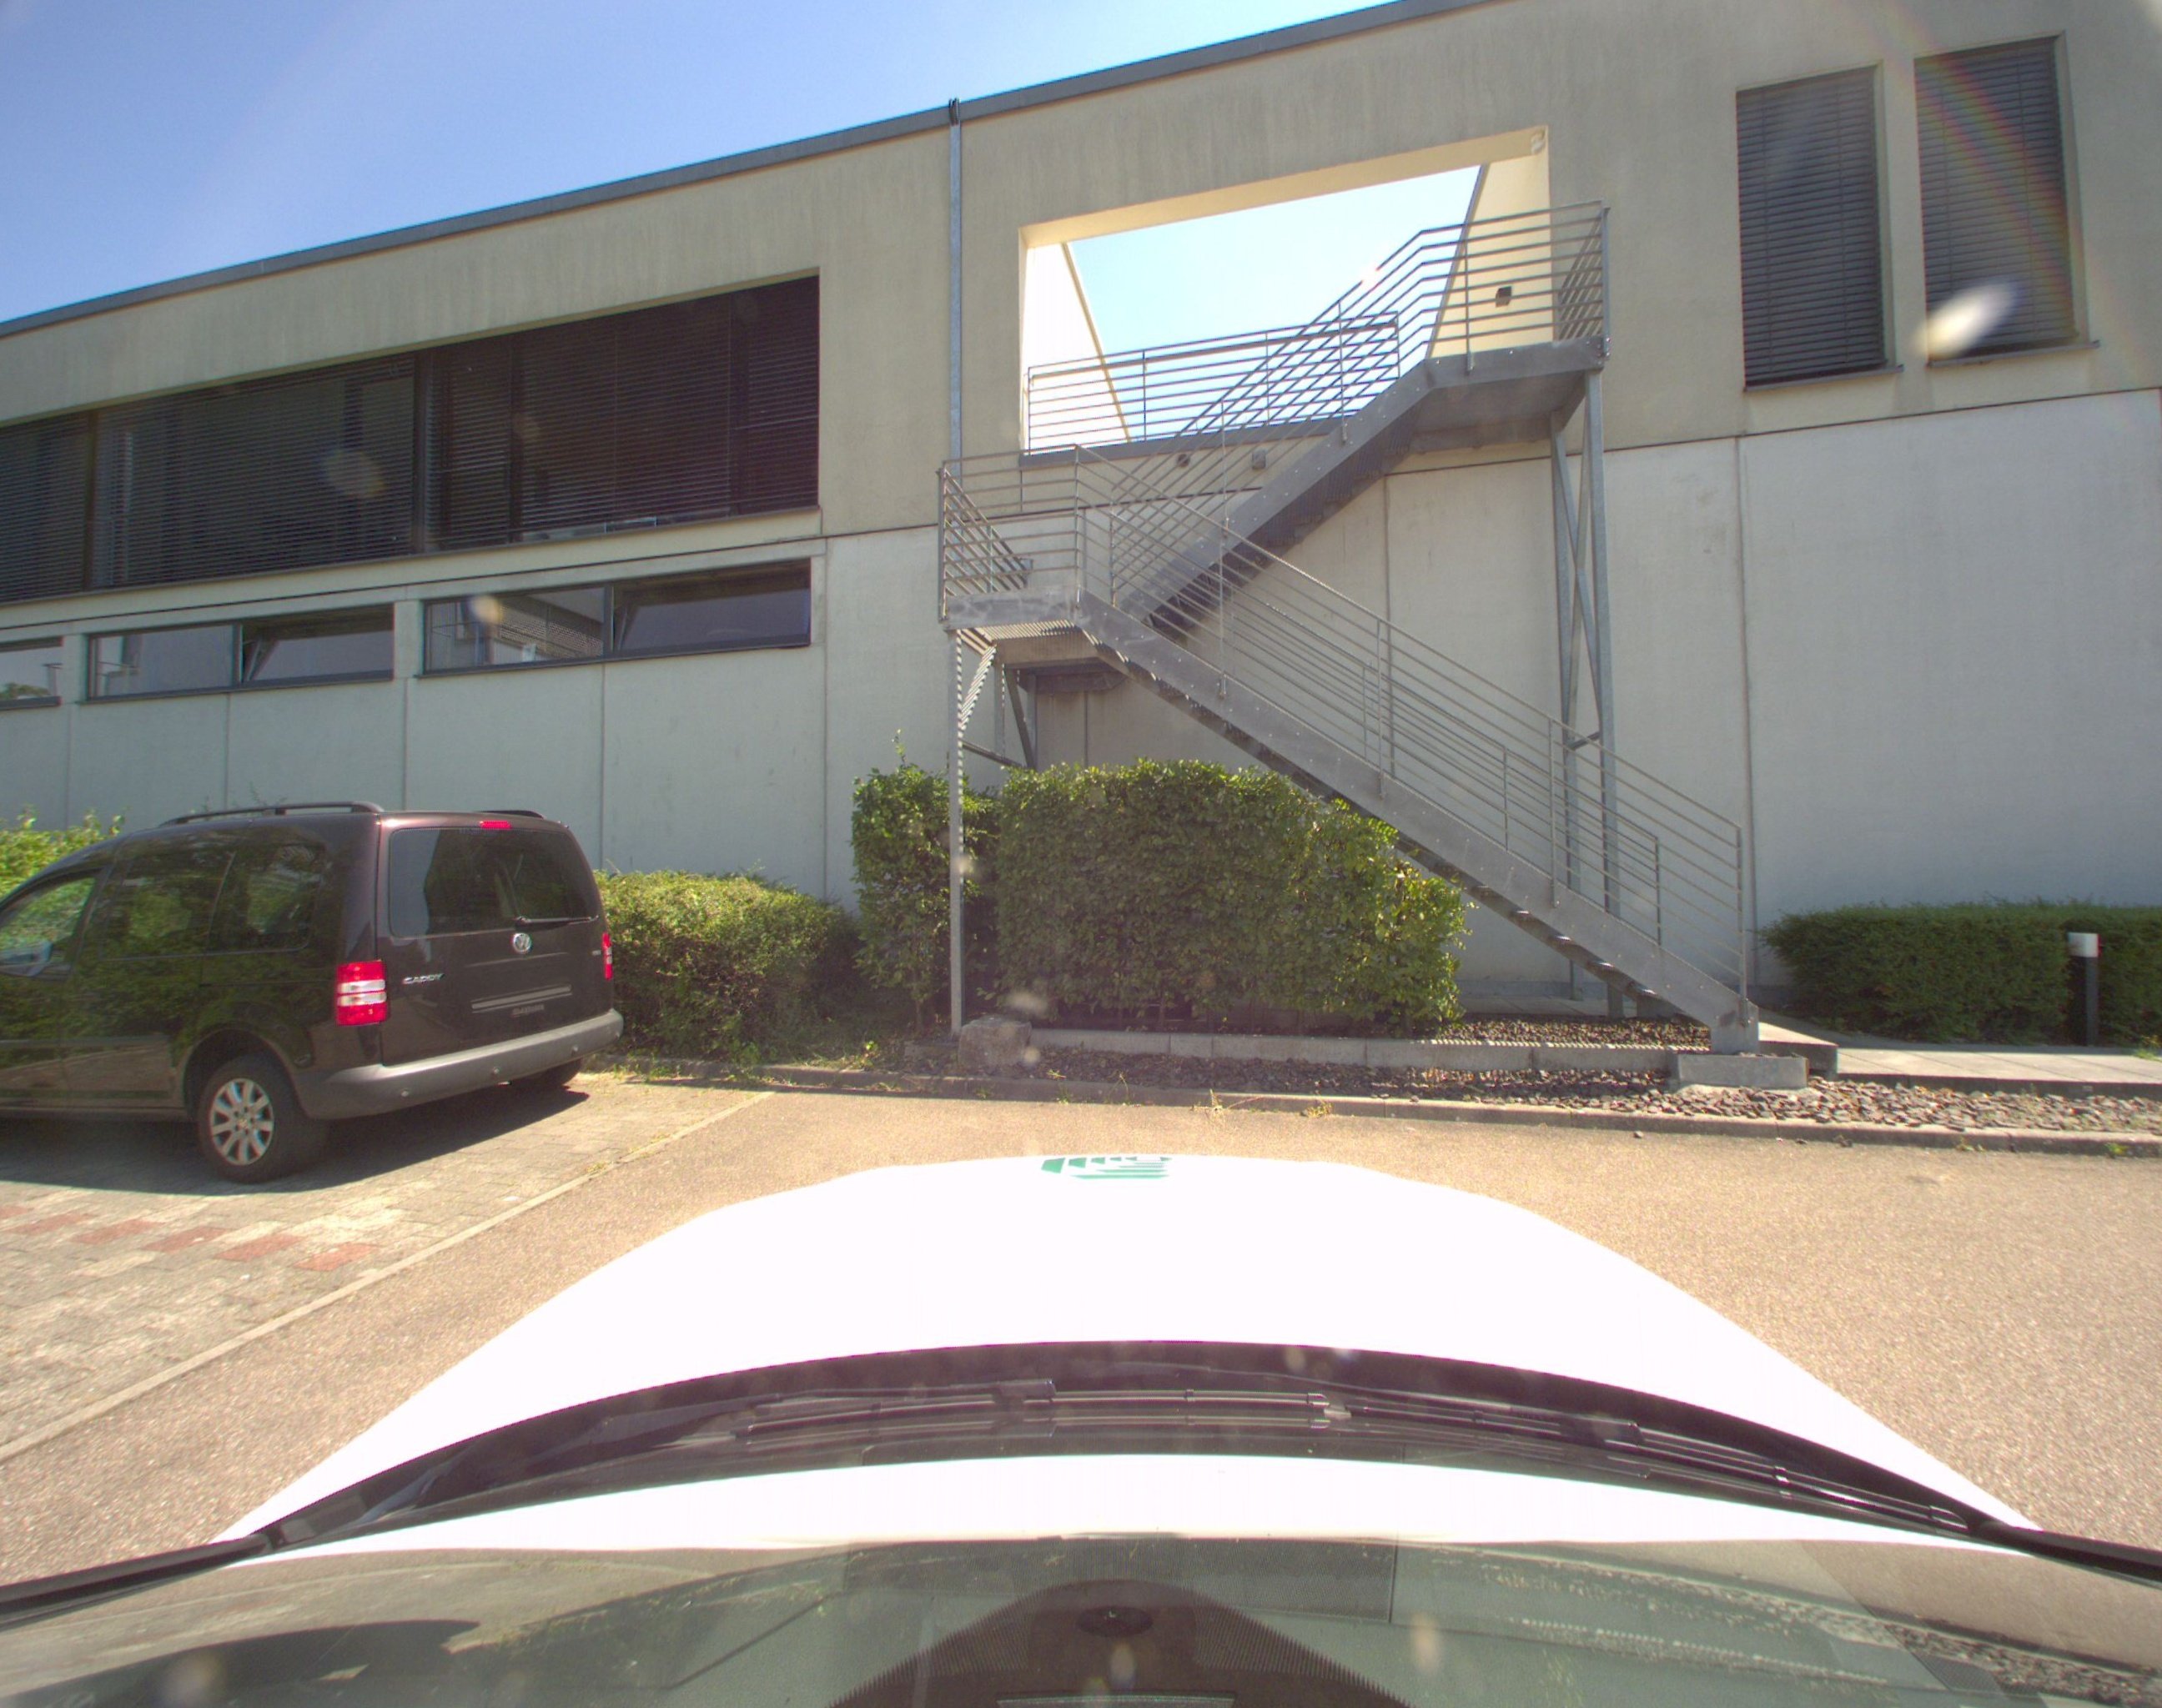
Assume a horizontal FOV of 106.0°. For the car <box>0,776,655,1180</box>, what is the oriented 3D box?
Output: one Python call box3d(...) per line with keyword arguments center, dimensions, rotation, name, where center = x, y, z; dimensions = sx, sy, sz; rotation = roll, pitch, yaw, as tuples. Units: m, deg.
box3d(center=(-5.018, 0.615, 5.083), dimensions=(4.029, 1.884, 1.685), rotation=(-1, -1, 13), name="car")
